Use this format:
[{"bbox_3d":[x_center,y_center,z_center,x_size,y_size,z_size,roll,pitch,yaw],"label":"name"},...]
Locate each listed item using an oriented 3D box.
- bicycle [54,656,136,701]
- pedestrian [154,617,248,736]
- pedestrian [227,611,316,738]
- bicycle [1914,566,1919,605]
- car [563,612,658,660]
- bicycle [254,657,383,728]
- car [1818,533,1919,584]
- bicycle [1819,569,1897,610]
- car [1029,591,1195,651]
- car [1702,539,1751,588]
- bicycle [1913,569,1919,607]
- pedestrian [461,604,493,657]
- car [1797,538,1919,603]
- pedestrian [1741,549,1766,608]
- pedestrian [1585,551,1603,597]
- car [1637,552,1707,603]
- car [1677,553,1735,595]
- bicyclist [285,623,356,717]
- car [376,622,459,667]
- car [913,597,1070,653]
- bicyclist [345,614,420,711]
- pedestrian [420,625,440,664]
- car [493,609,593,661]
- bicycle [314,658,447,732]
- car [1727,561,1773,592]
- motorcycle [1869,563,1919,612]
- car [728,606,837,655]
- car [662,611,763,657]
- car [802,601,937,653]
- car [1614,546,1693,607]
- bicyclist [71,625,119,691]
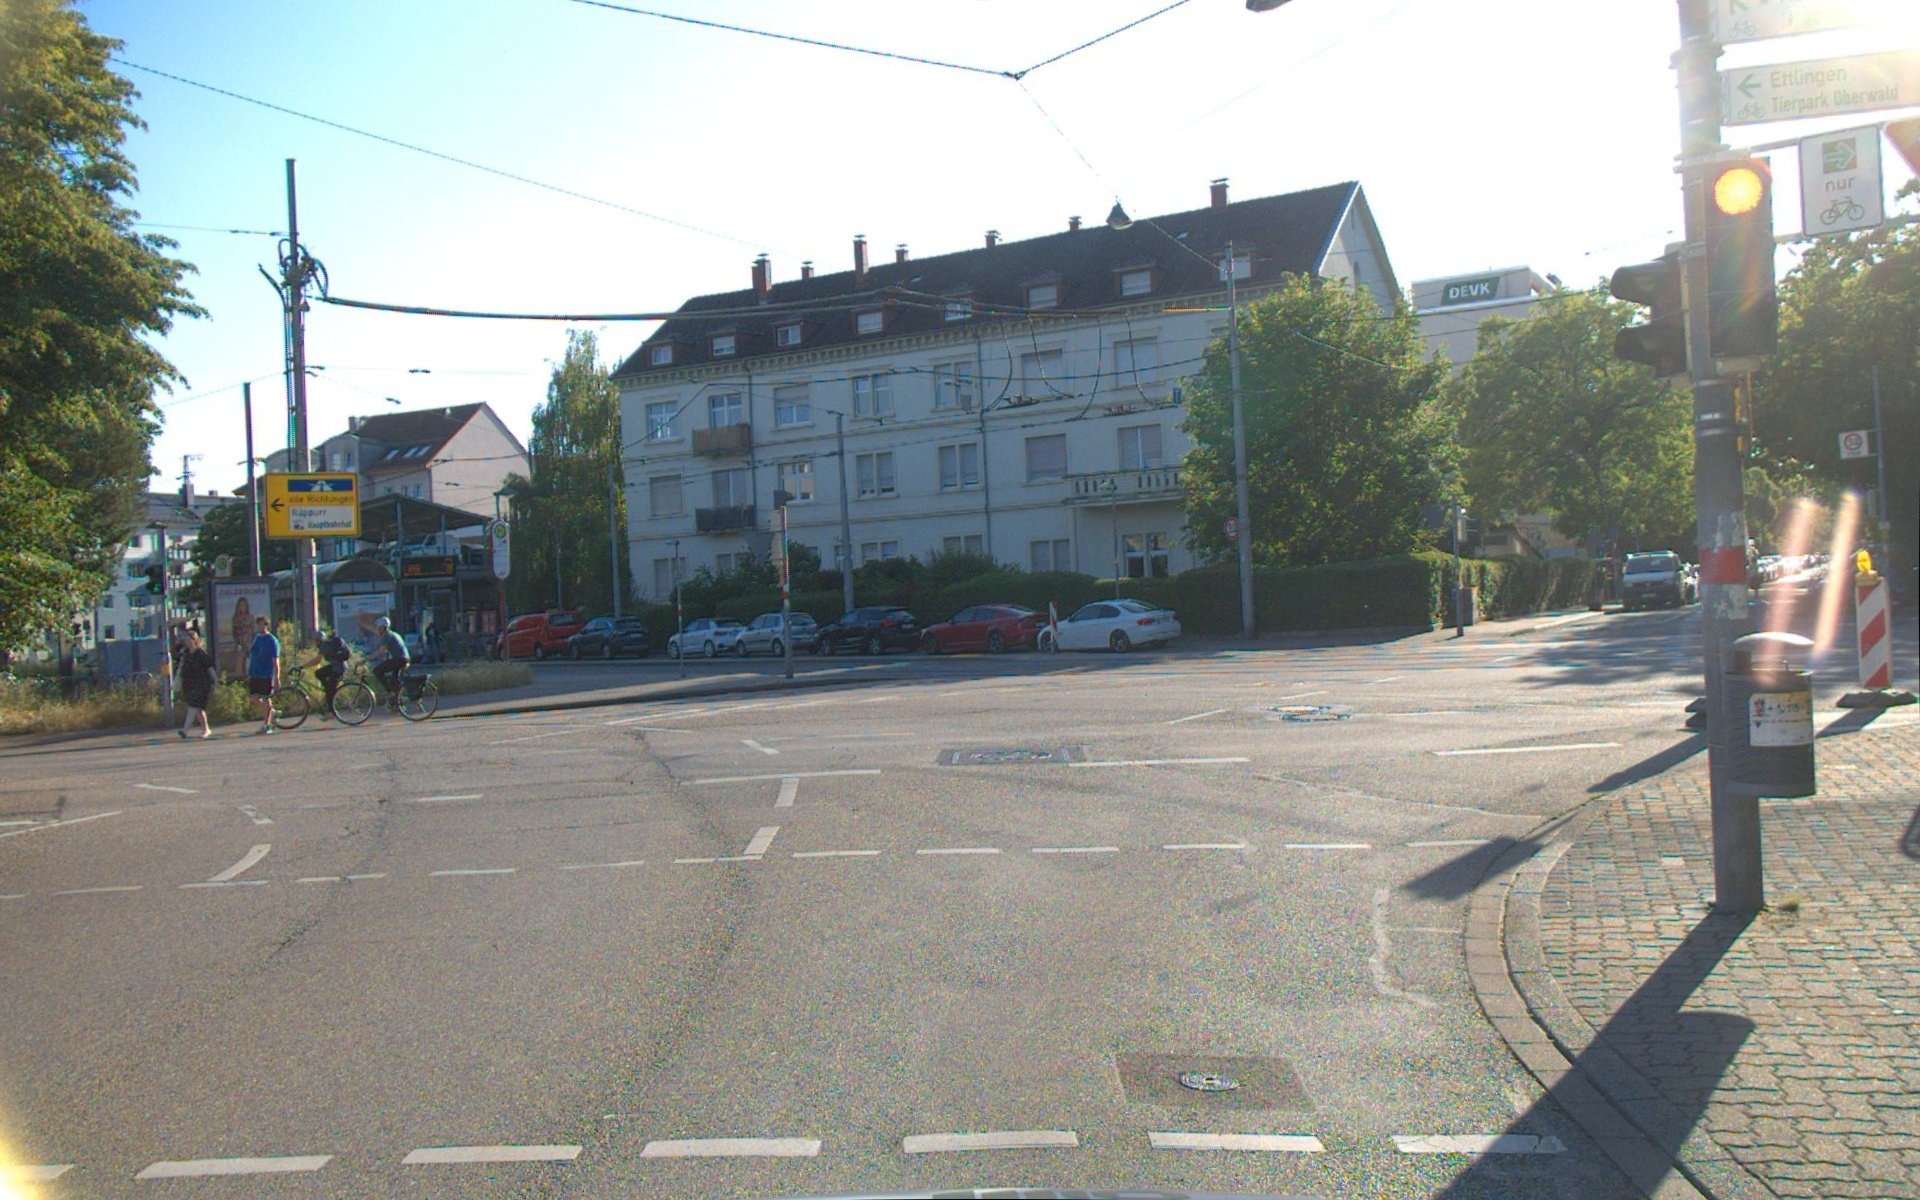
[{"bbox_3d":[-23.040,2.081,44.101,0.647,1.088,2.020,1,0,19],"label":"bicycle"},{"bbox_3d":[-11.903,1.180,25.967,0.893,1.777,1.067,-3,0,0],"label":"pedestrian"},{"bbox_3d":[-11.114,1.181,26.744,0.893,1.958,1.067,-3,0,0],"label":"pedestrian"},{"bbox_3d":[24.373,-0.398,40.501,1.691,0.949,0.561,-3,0,29],"label":"bicycle"},{"bbox_3d":[-14.193,1.481,66.966,1.830,1.696,4.304,-6,2,-41],"label":"car"},{"bbox_3d":[-11.131,1.599,28.757,1.979,1.087,0.661,-3,0,-16],"label":"bicycle"},{"bbox_3d":[40.815,-1.827,73.118,4.990,1.958,2.360,-3,-2,26],"label":"car"},{"bbox_3d":[22.774,-0.261,41.979,1.690,0.949,0.671,-3,0,29],"label":"bicycle"},{"bbox_3d":[4.199,0.593,46.177,1.916,1.400,4.426,-6,2,-43],"label":"car"},{"bbox_3d":[43.110,-2.032,92.943,2.308,2.558,5.306,-3,0,26],"label":"car"},{"bbox_3d":[24.732,-0.343,41.179,1.691,0.949,0.561,-3,0,29],"label":"bicycle"},{"bbox_3d":[-19.025,1.207,65.167,0.914,2.049,0.759,-3,0,-37],"label":"pedestrian"},{"bbox_3d":[31.342,-1.017,55.668,5.510,1.958,2.360,-3,-2,26],"label":"car"},{"bbox_3d":[25.756,-0.692,53.680,0.648,1.871,0.682,-3,0,28],"label":"pedestrian"},{"bbox_3d":[24.849,-1.019,64.838,0.567,1.761,0.608,-3,0,23],"label":"pedestrian"},{"bbox_3d":[28.348,-0.917,65.758,2.308,1.826,5.306,-3,0,26],"label":"car"},{"bbox_3d":[35.641,-1.248,78.970,2.308,1.826,5.306,-3,0,26],"label":"car"},{"bbox_3d":[-11.105,1.201,28.746,1.017,1.558,0.658,-3,0,-16],"label":"bicyclist"},{"bbox_3d":[-27.191,2.236,82.781,2.039,1.995,5.073,-6,2,-41],"label":"car"},{"bbox_3d":[0.914,0.771,50.120,4.625,1.400,1.974,-3,2,44],"label":"car"},{"bbox_3d":[-9.744,1.049,27.946,1.015,1.558,0.696,-3,0,-10],"label":"bicyclist"},{"bbox_3d":[-21.179,1.793,66.089,0.560,1.527,0.672,-3,0,-29],"label":"pedestrian"},{"bbox_3d":[-18.163,1.524,71.946,2.039,1.995,5.073,-6,2,-41],"label":"car"},{"bbox_3d":[-9.774,1.596,27.953,1.975,1.087,0.662,-3,0,-9],"label":"bicycle"},{"bbox_3d":[51.021,-1.534,106.763,2.310,1.826,5.301,-3,0,29],"label":"car"},{"bbox_3d":[22.935,-0.328,39.590,1.912,1.128,0.837,-3,0,24],"label":"motorcycle"},{"bbox_3d":[-6.211,1.088,57.763,1.971,1.472,3.663,-6,2,-41],"label":"car"},{"bbox_3d":[-9.175,1.276,61.209,1.830,1.472,3.899,-6,2,-41],"label":"car"},{"bbox_3d":[-3.031,0.914,54.568,1.970,1.472,4.634,-6,2,-41],"label":"car"},{"bbox_3d":[25.347,-0.868,60.333,2.308,2.049,5.306,-3,0,26],"label":"car"},{"bbox_3d":[-23.076,1.543,44.130,0.654,1.681,0.887,-3,0,18],"label":"bicyclist"}]
